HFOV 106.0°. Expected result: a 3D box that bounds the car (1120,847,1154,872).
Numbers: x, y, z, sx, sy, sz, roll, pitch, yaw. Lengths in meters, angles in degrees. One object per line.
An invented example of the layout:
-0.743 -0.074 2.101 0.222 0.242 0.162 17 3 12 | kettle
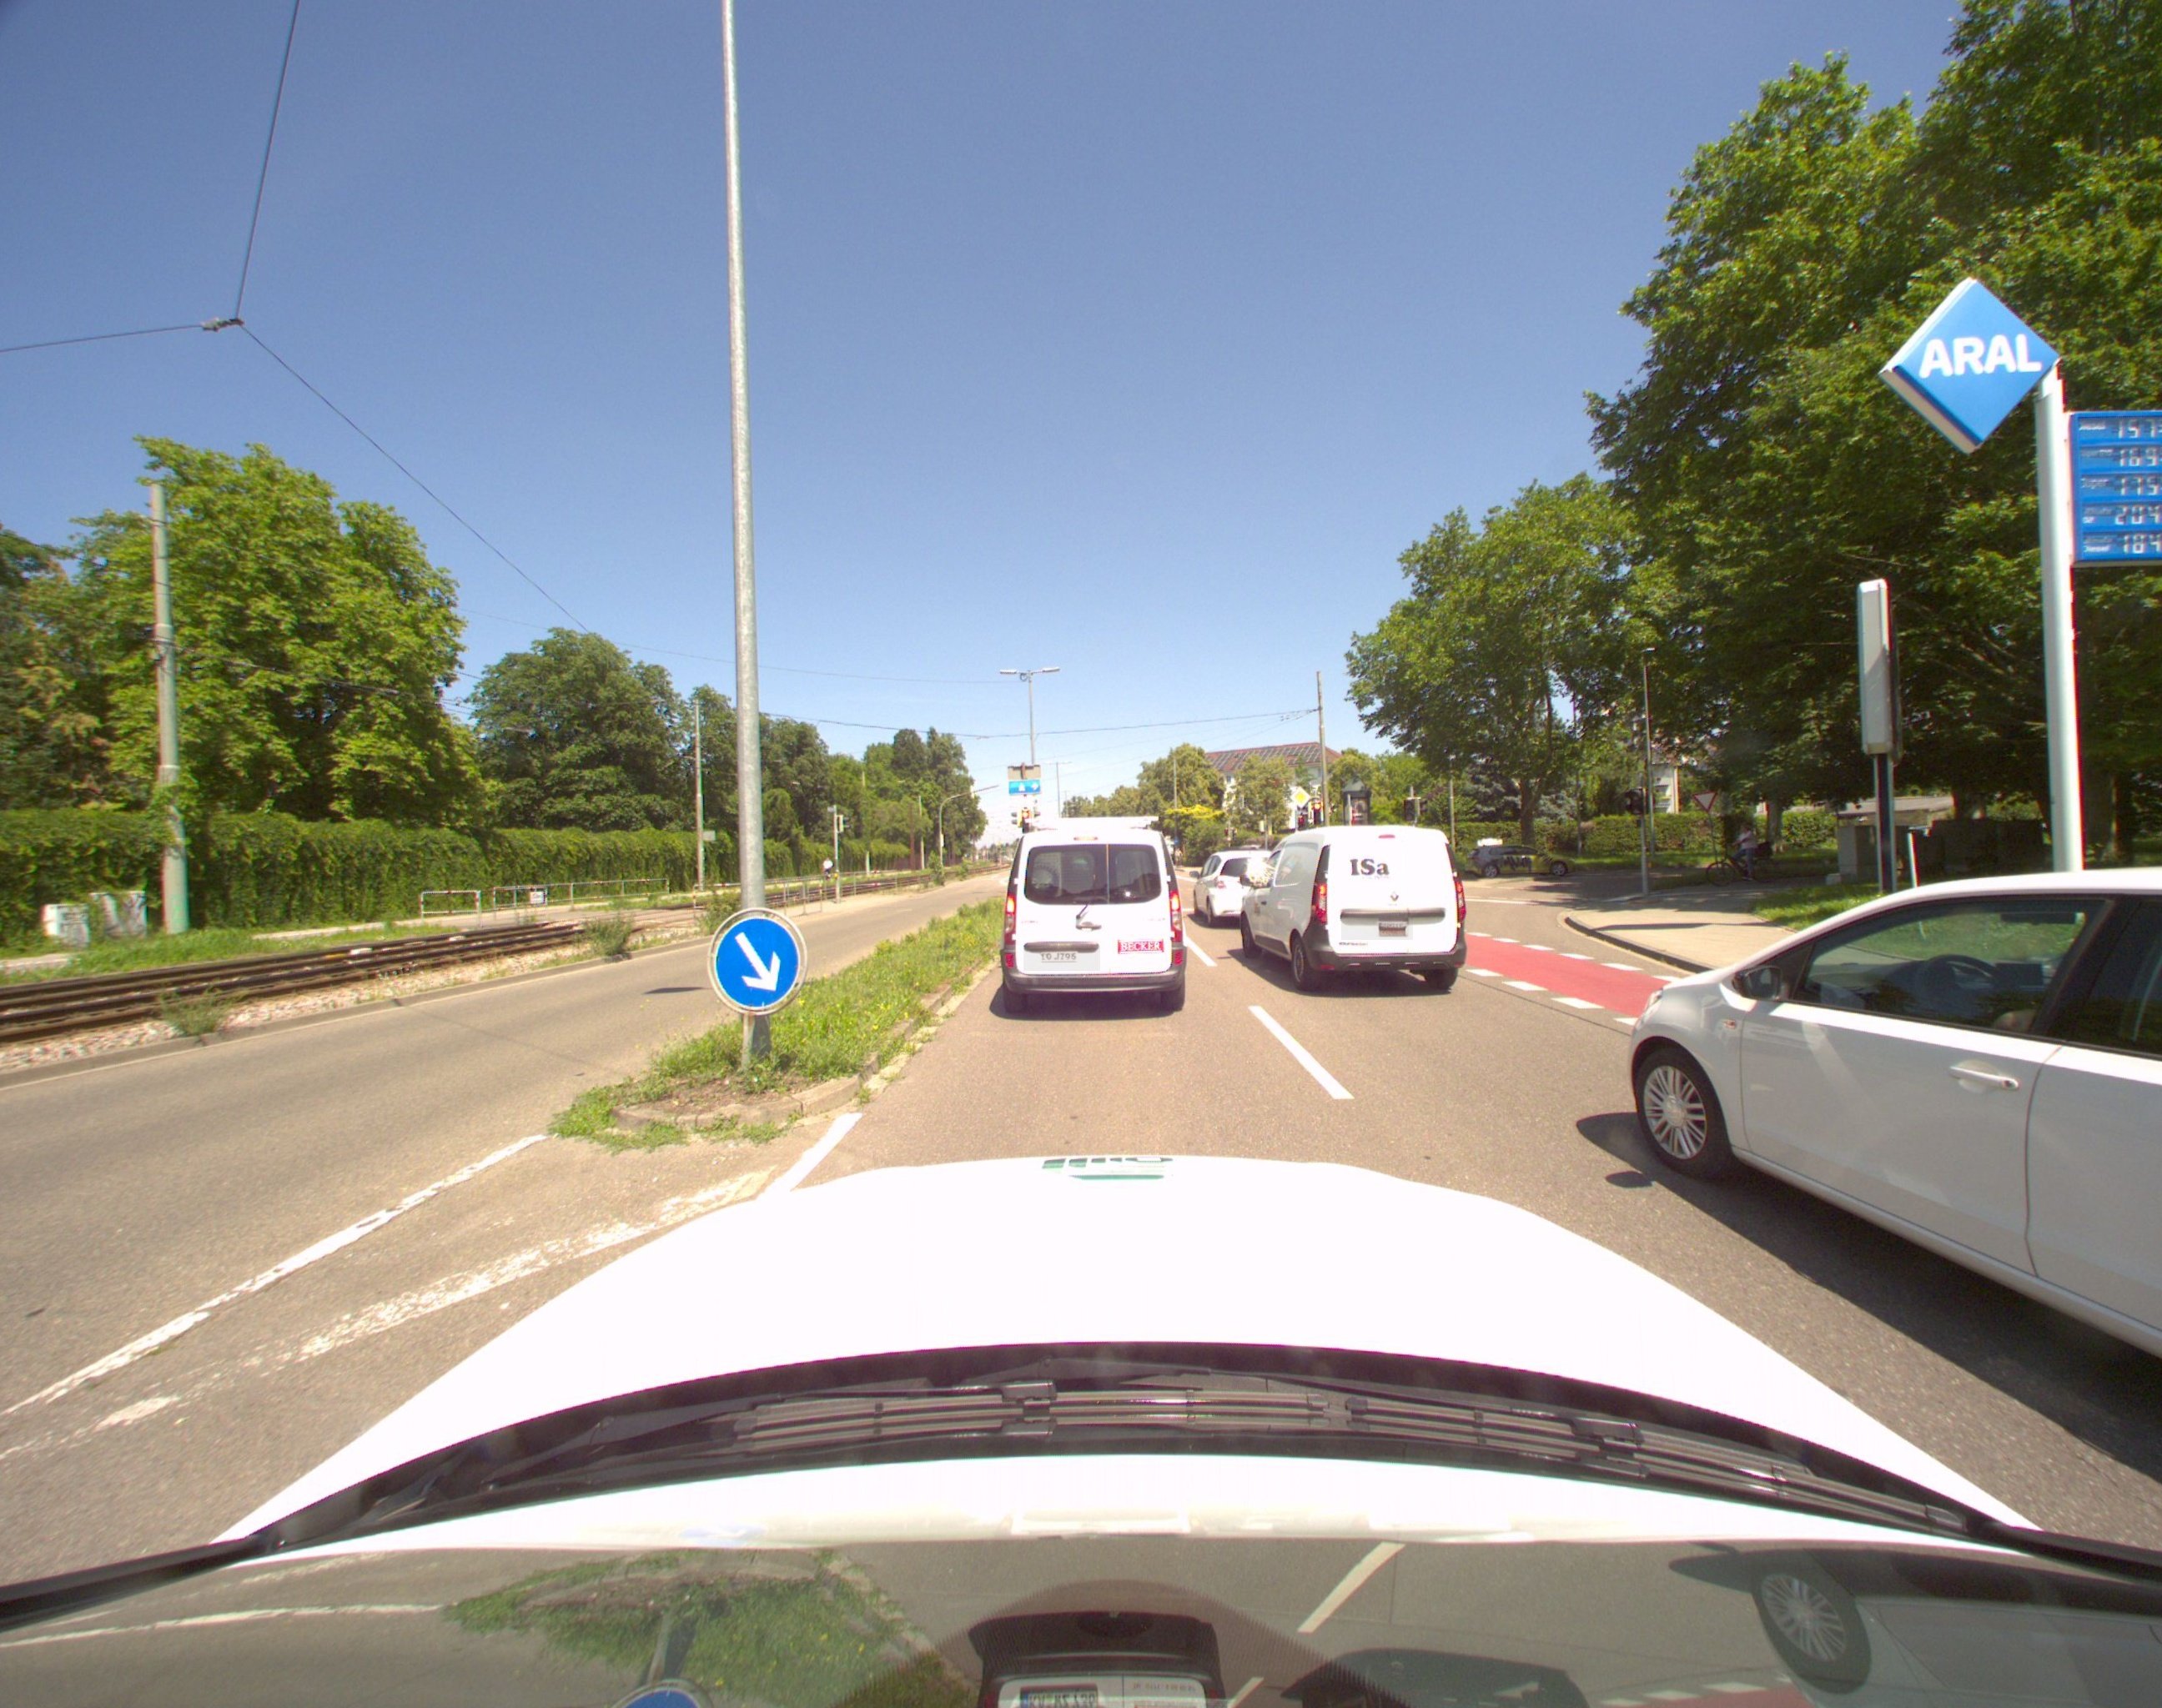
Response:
4.571 0.452 66.881 1.992 1.915 3.990 -2 0 -7 | car

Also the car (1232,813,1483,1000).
3.151 0.526 10.181 1.705 1.830 4.012 -2 0 -1 | car

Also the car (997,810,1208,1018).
0.209 0.530 9.217 1.860 1.836 3.848 -1 0 0 | car

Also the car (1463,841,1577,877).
18.459 0.194 34.416 3.959 1.379 1.550 -2 0 15 | car

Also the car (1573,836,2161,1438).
3.443 0.677 2.668 1.601 1.451 3.522 -2 0 2 | car

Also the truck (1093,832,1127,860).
3.772 -1.045 110.063 3.569 3.632 8.795 -2 0 -4 | truck

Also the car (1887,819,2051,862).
36.946 -0.546 33.982 4.419 1.617 2.003 -2 0 5 | car

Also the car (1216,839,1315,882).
8.528 0.295 37.706 3.948 1.860 2.013 -2 0 31 | car

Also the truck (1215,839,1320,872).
12.588 0.087 54.887 6.653 2.013 2.317 -2 0 16 | truck

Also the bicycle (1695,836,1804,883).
19.277 0.160 23.537 2.247 1.269 0.890 -2 0 11 | bicycle

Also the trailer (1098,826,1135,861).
4.329 -1.294 101.205 3.520 4.050 8.965 -2 0 -4 | trailer

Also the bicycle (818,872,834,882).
-18.395 1.637 58.831 0.559 0.647 1.721 -2 0 2 | bicycle

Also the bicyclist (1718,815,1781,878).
19.291 -0.212 23.527 0.948 1.739 1.135 -2 0 12 | bicyclist

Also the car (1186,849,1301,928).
3.384 0.663 17.636 1.750 1.486 4.001 -1 0 1 | car

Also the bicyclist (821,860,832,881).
-18.414 1.176 58.927 0.556 1.478 0.562 -2 0 2 | bicyclist
